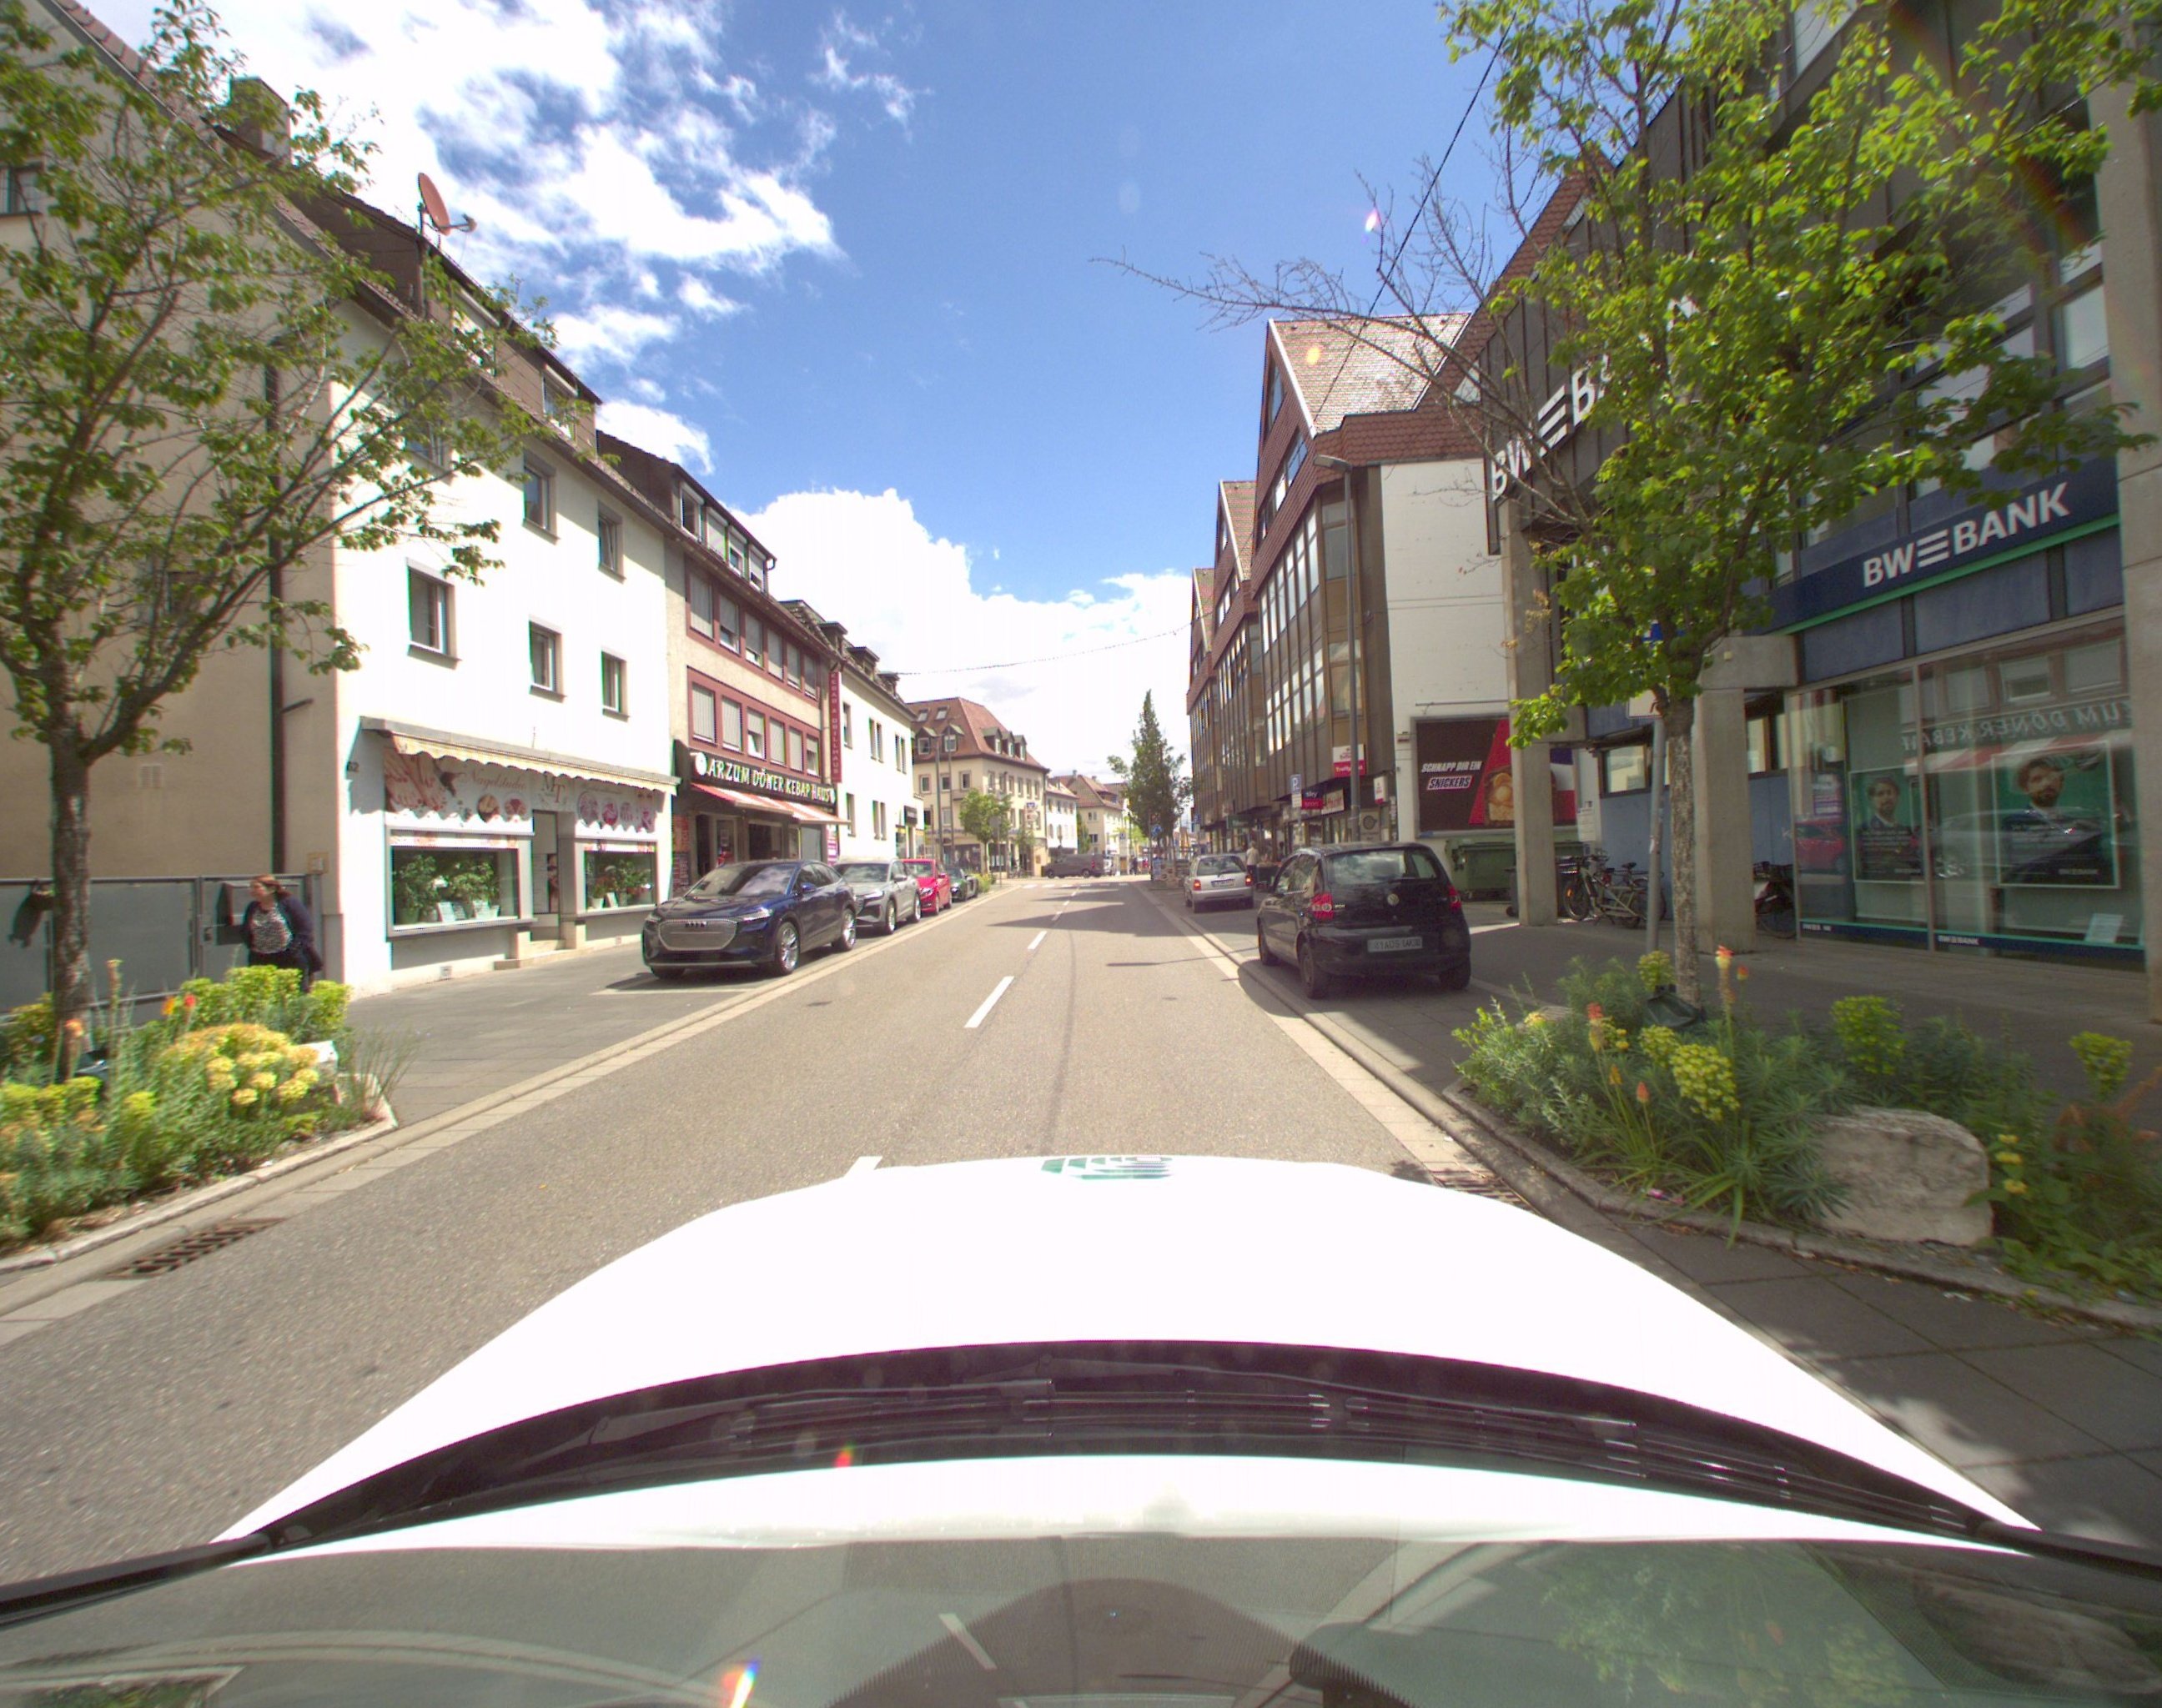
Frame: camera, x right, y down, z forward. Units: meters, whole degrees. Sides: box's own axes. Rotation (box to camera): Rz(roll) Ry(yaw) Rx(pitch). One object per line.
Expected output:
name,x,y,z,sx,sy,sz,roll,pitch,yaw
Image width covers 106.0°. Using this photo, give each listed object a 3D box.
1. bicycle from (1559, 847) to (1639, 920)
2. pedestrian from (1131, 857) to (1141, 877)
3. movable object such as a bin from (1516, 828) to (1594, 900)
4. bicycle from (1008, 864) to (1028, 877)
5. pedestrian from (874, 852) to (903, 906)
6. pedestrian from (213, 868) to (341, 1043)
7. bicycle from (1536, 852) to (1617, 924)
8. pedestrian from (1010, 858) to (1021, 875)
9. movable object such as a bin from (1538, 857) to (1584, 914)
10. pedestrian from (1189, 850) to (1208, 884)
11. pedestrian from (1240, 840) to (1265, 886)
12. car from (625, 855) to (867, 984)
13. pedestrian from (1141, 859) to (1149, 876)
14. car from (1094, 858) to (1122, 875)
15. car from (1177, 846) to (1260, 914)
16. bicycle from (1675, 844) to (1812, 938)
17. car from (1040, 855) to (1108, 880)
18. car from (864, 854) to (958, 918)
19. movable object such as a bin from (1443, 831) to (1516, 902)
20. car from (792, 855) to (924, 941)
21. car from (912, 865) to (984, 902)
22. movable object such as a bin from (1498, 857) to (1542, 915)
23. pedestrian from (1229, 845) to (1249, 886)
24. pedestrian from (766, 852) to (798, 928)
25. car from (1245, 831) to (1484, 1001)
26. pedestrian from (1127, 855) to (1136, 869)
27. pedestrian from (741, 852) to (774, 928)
bicycle,8.515,0.470,13.440,0.423,1.119,1.503,-1,-1,4
pedestrian,4.850,1.131,71.486,0.865,1.708,0.531,-1,-1,4
movable object such as a bin,10.481,0.218,18.048,1.137,1.528,1.033,-1,-1,4
bicycle,-5.289,1.392,68.394,1.619,1.031,0.570,-1,-1,16
pedestrian,-6.043,0.787,25.632,0.683,1.648,0.780,-1,-1,3
pedestrian,-7.855,0.962,7.983,0.586,1.633,0.662,-1,-1,1
bicycle,8.028,0.516,13.255,0.423,1.081,1.503,-3,0,4
pedestrian,-5.915,1.153,73.096,0.620,1.532,0.864,-1,-1,25
movable object such as a bin,8.544,0.557,14.507,0.485,0.999,0.554,-1,-1,4
pedestrian,5.607,0.610,39.001,0.781,1.615,0.800,-1,-1,1
pedestrian,6.499,0.333,30.883,0.658,1.706,0.642,0,-1,-21
car,-4.882,0.842,12.667,1.792,1.598,4.390,-2,0,2
pedestrian,6.840,1.421,86.855,0.722,1.764,0.751,-1,-1,12
car,2.734,1.235,81.078,1.979,1.689,4.015,-1,-1,14
car,3.552,0.636,21.636,1.603,1.495,3.797,-5,0,3
bicycle,8.509,0.452,10.556,0.423,1.119,1.742,-1,-1,4
car,-0.569,1.037,63.462,4.935,1.848,2.060,-1,-1,31
car,-4.768,0.838,23.423,1.794,1.604,4.217,-2,0,0
movable object such as a bin,8.903,0.276,18.240,1.137,1.528,1.033,-1,-1,4
car,-4.814,0.866,18.216,1.794,1.604,4.348,-2,0,-2
car,-4.814,1.045,30.183,1.812,1.224,4.525,0,0,1
movable object such as a bin,7.805,0.564,14.481,0.485,0.999,0.554,-1,-1,4
pedestrian,7.128,0.505,36.708,0.734,1.814,0.712,-1,-1,1
pedestrian,-6.596,0.784,17.985,0.512,1.648,0.472,-1,-1,0
car,3.071,0.587,9.643,1.603,1.532,3.797,-3,0,3
pedestrian,5.712,0.929,92.054,0.749,1.579,0.724,-1,-1,-21
pedestrian,-7.152,0.789,18.026,0.500,1.648,0.574,-1,-1,-1
